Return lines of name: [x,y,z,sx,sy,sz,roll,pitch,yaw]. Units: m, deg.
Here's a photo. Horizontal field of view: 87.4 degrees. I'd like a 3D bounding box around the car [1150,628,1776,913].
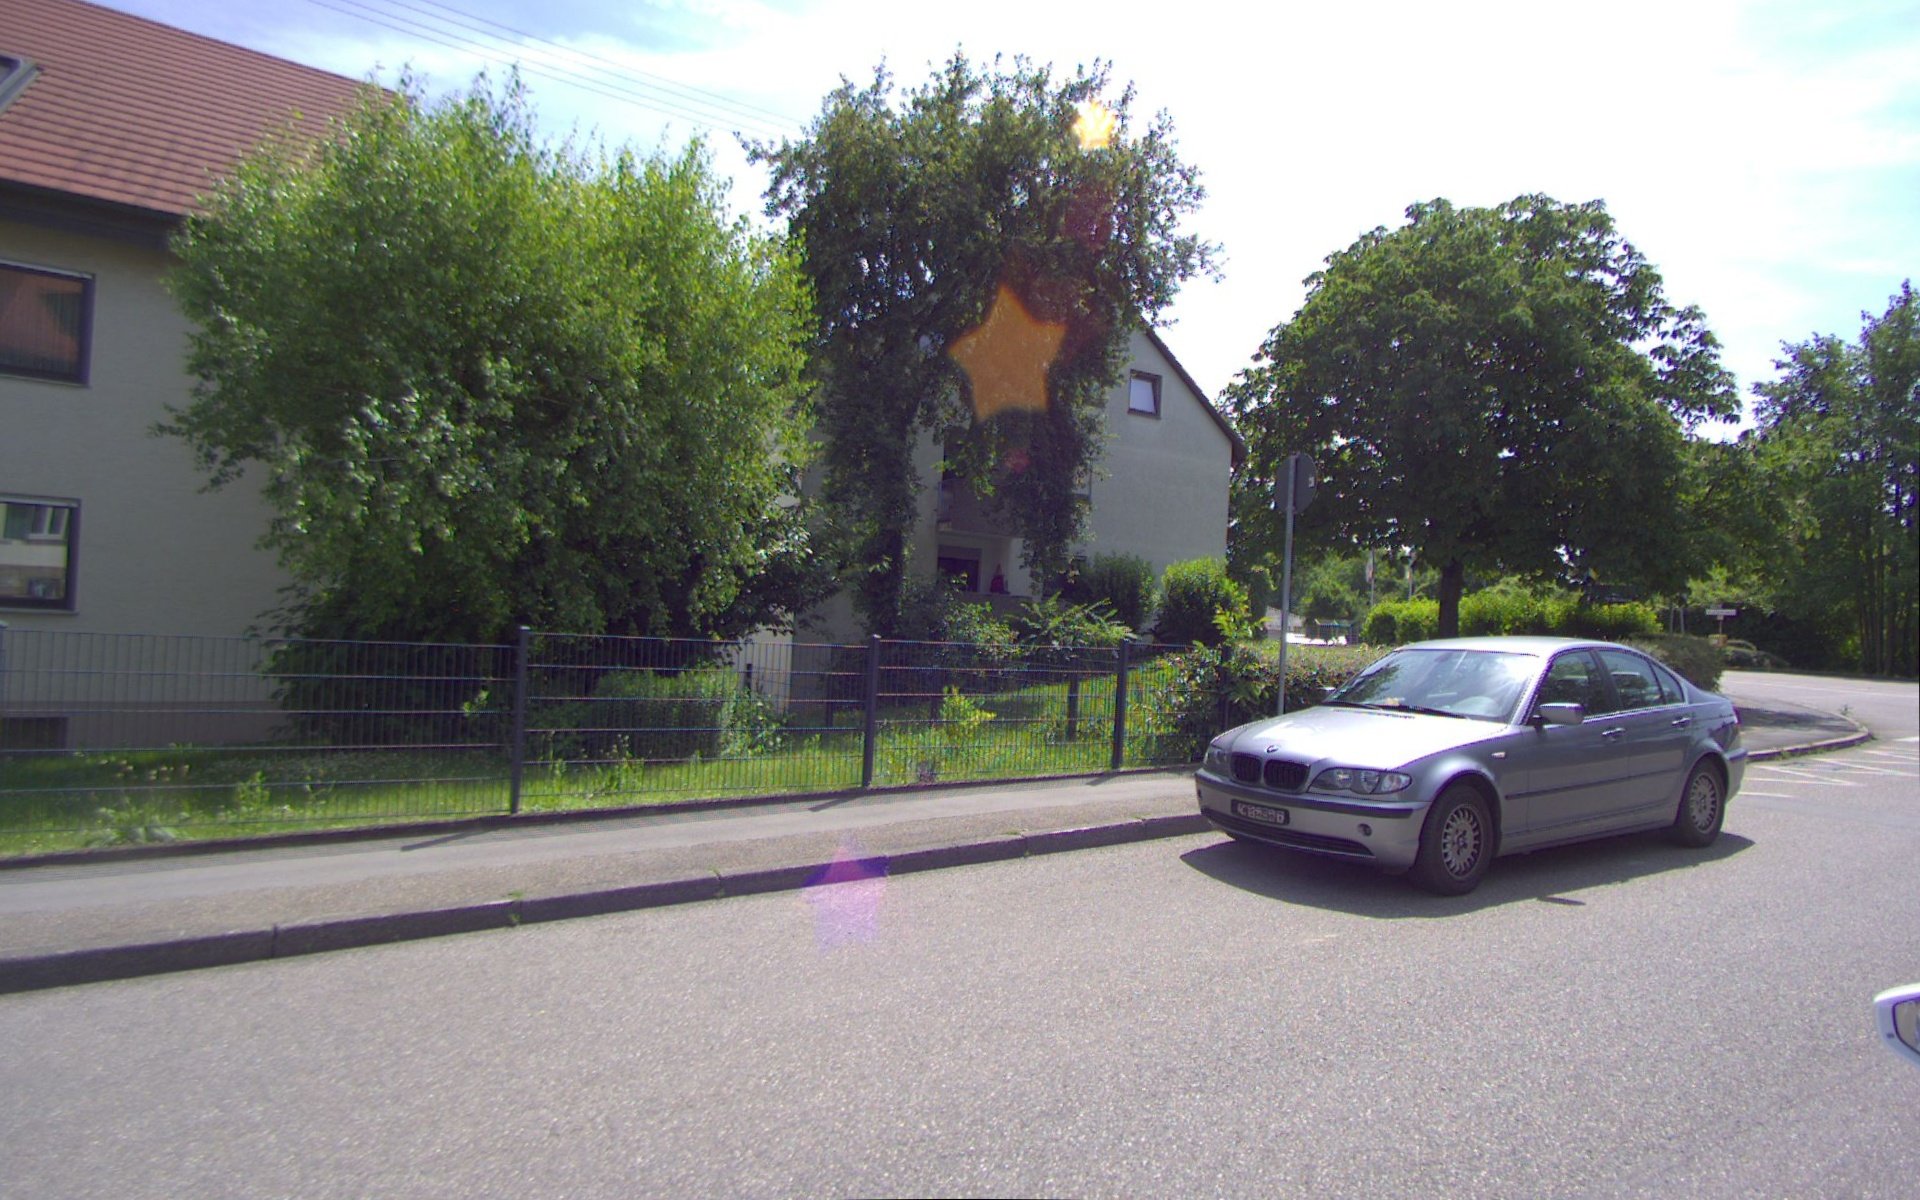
car: [3.566,0.934,6.912,4.357,1.413,1.772,2,-2,-30]
